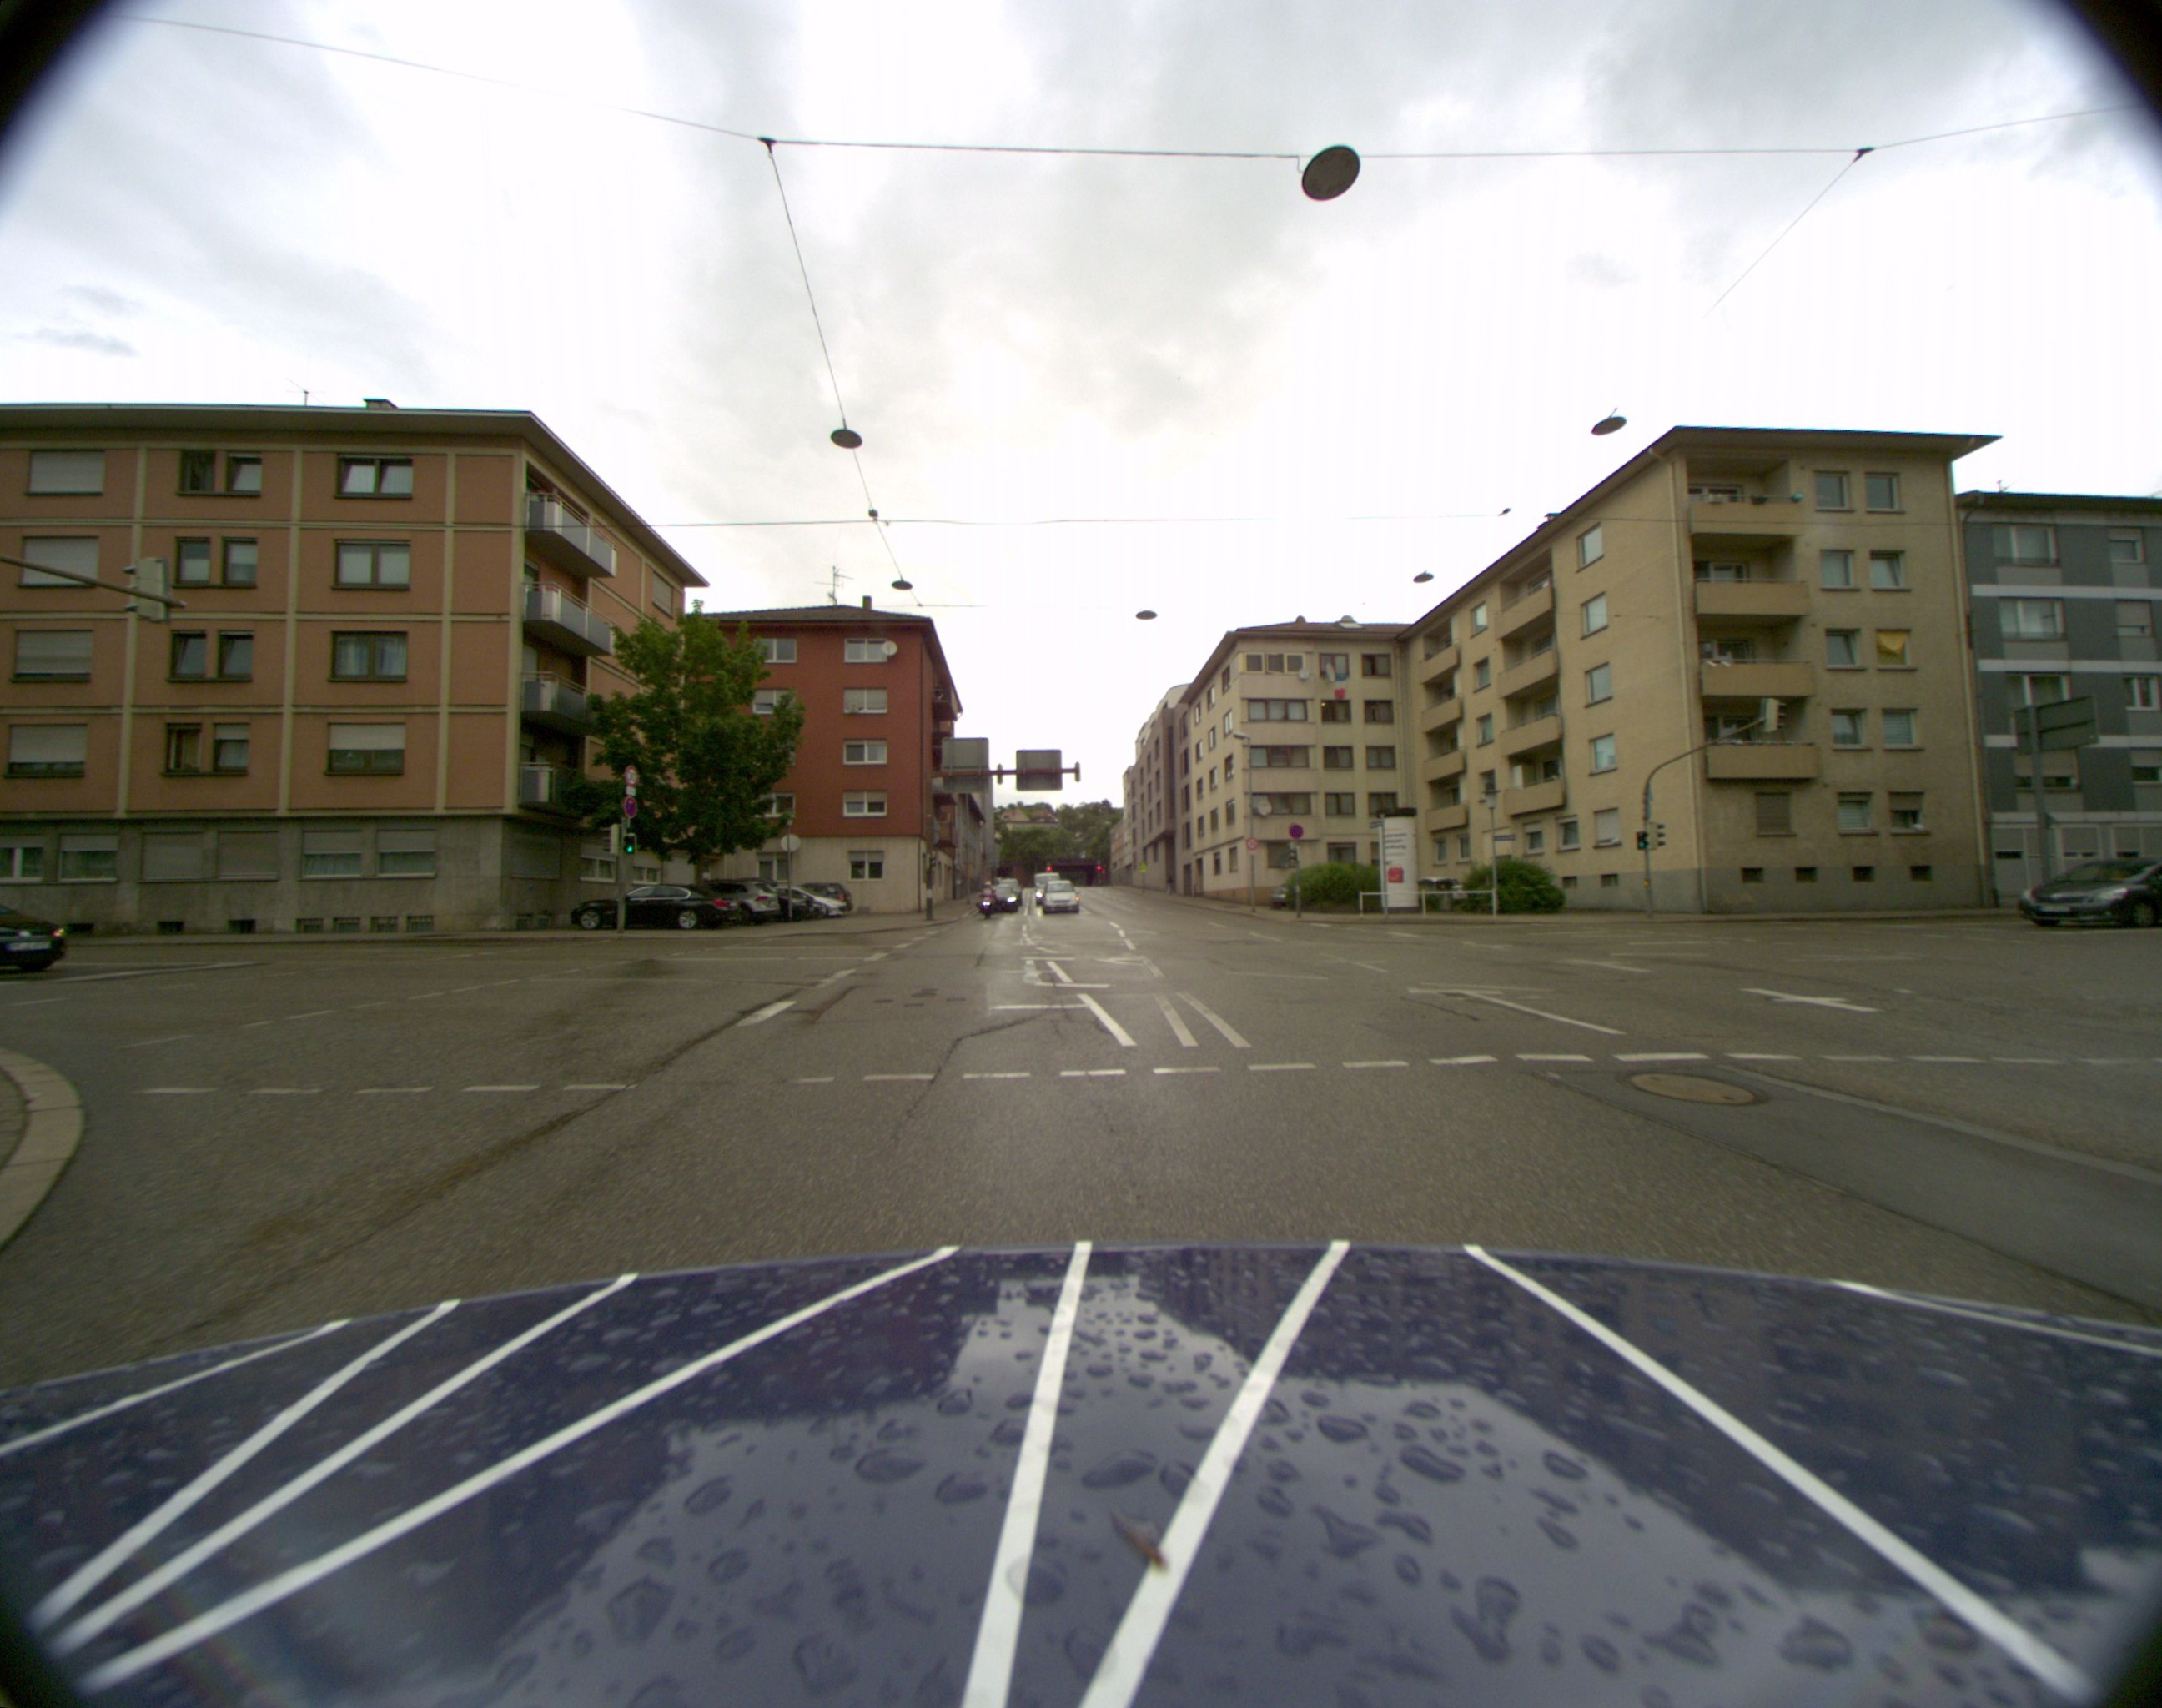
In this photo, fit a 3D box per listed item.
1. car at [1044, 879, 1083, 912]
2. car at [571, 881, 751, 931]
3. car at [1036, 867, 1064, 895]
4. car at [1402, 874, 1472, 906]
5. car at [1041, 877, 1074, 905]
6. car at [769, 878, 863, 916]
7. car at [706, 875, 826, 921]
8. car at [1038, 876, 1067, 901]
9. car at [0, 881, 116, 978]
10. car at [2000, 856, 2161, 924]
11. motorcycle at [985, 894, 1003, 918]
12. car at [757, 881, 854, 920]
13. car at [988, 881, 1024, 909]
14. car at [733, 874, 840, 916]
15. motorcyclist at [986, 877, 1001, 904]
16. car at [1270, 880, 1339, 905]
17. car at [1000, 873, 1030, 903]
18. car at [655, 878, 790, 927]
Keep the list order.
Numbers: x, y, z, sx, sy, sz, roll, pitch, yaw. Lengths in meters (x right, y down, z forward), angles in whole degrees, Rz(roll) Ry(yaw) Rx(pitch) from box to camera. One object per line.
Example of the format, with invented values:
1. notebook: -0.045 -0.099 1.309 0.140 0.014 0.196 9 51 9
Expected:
1. car: -0.917 2.054 38.707 1.840 1.545 4.000 -1 -2 -3
2. car: -13.589 1.675 24.786 4.793 1.545 1.850 1 -2 -1
3. car: -2.328 2.100 58.165 1.942 1.903 4.857 -2 -4 -2
4. car: 18.173 1.816 38.964 1.766 1.465 3.324 -2 -1 -5
5. car: -1.466 2.195 45.824 1.849 1.545 4.000 -1 -2 -3
6. car: -13.306 2.178 38.284 3.994 1.694 2.003 -3 -4 9
7. car: -12.656 1.770 30.651 3.994 1.708 1.995 -2 -2 8
8. car: -1.890 2.268 50.840 1.849 1.545 4.001 -1 -2 -2
9. car: -18.636 1.214 12.114 3.998 1.480 1.850 -1 -2 -3
10. car: 24.428 0.827 17.742 4.071 1.471 1.733 -1 -3 -5
11. motorcycle: -4.009 2.368 34.849 0.637 0.921 2.363 -2 -1 -10
12. car: -12.854 2.186 35.481 3.993 1.571 1.677 -4 -4 15
13. car: -4.206 2.237 42.163 1.875 1.433 3.999 -2 -2 -7
14. car: -12.860 1.808 33.260 3.994 1.687 1.803 -2 -4 9
15. motorcyclist: -4.021 1.674 34.893 0.654 1.216 0.657 -1 -1 -10
16. car: 12.022 2.095 41.017 3.261 1.185 1.382 -2 -3 -4
17. car: -4.318 2.280 50.081 1.794 1.716 4.002 -2 -4 -4
18. car: -13.014 1.759 27.784 3.998 1.650 1.993 -1 -2 -3
